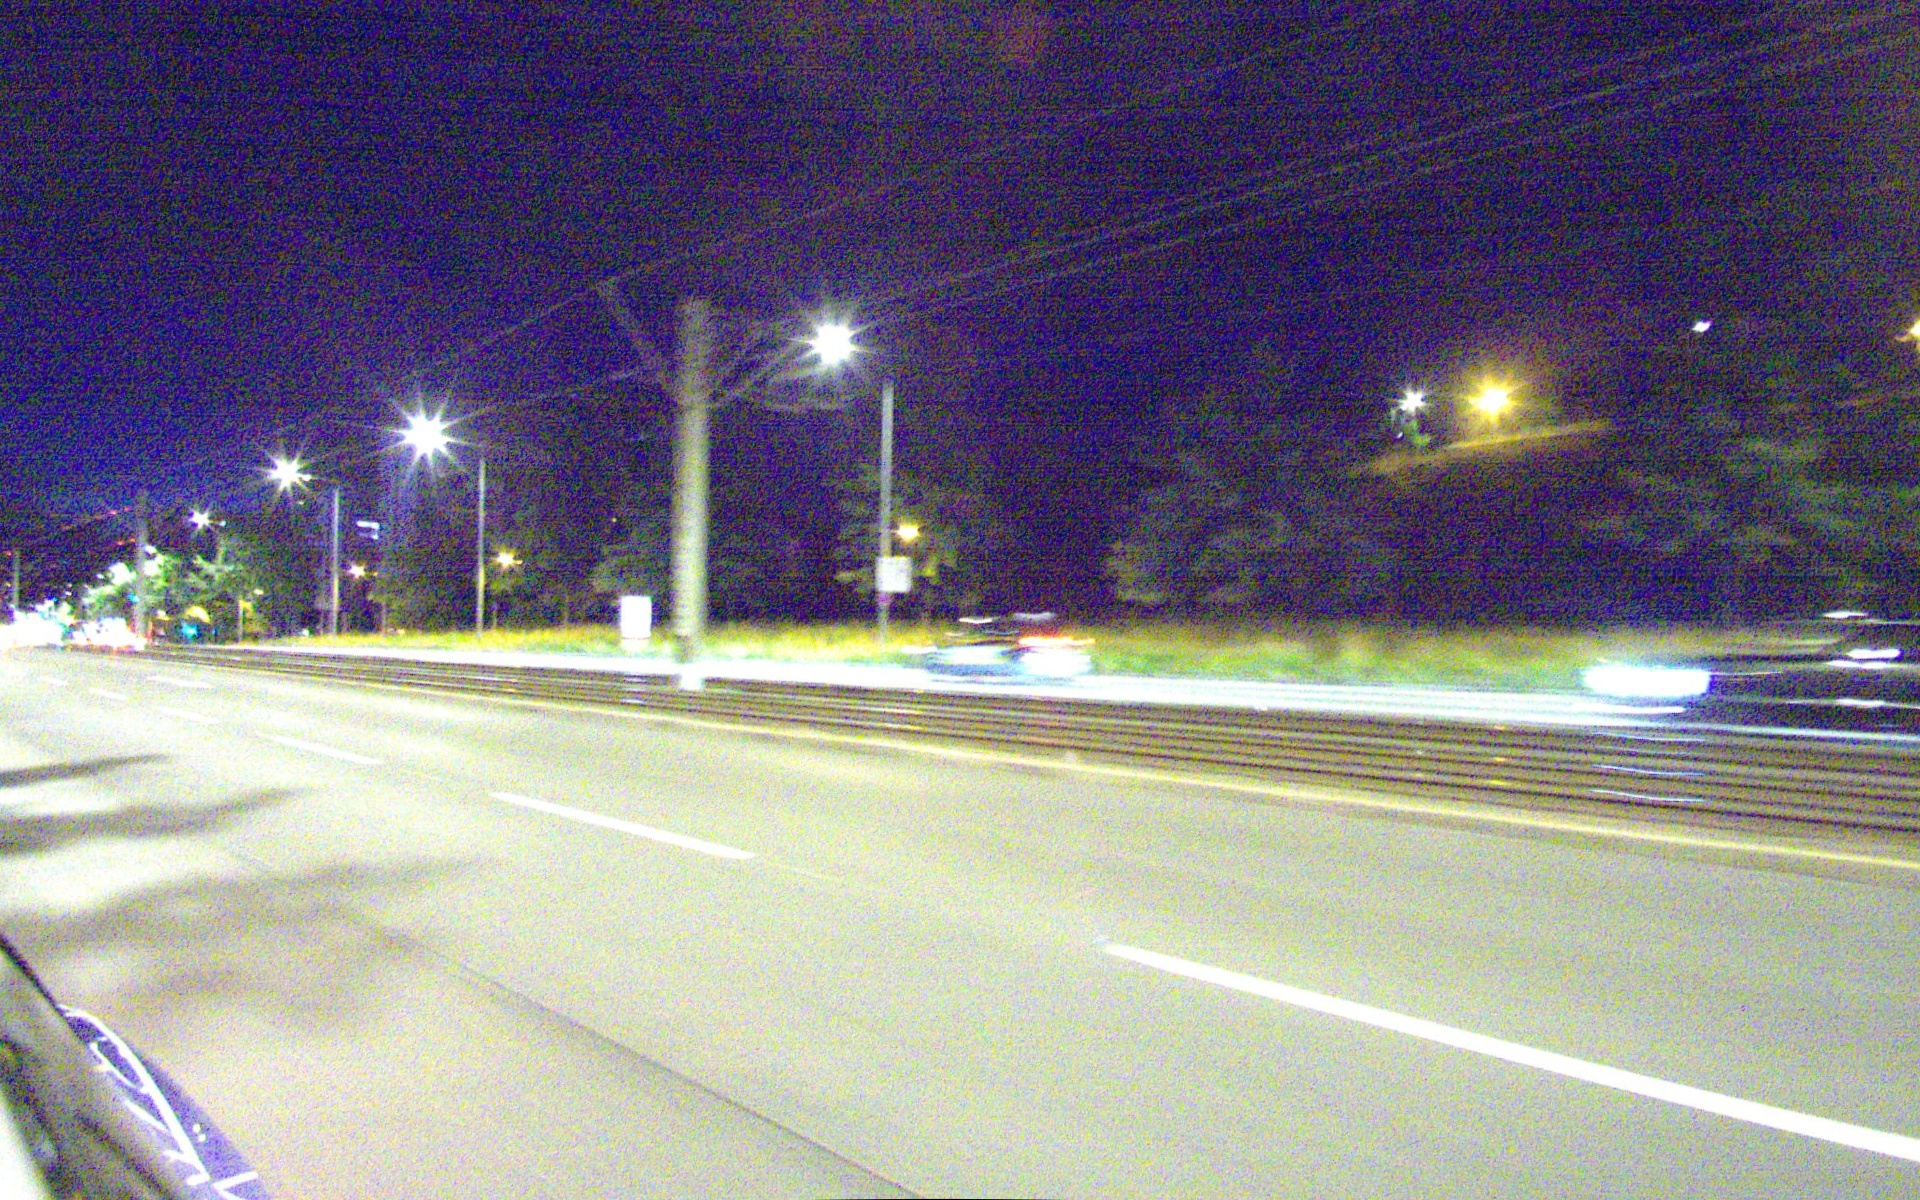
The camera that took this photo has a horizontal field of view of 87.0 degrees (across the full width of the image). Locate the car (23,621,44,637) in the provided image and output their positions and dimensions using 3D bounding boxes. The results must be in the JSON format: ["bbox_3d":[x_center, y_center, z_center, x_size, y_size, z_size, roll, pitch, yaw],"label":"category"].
[{"bbox_3d":[-115.588,3.618,126.186,1.769,1.921,4.002,-1,0,-45],"label":"car"}]

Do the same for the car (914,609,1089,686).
[{"bbox_3d":[0.919,1.055,23.999,3.960,1.637,1.707,0,0,41],"label":"car"}]

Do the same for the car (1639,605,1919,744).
[{"bbox_3d":[10.620,0.820,12.069,4.079,1.510,1.787,0,-1,38],"label":"car"}]

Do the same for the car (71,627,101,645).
[{"bbox_3d":[-91.516,3.795,105.942,3.997,1.751,1.772,0,0,40],"label":"car"}]

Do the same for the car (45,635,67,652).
[{"bbox_3d":[-107.850,5.187,120.722,1.769,1.803,4.002,-1,1,-45],"label":"car"}]

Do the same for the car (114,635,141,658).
[{"bbox_3d":[-84.543,4.692,102.703,2.030,2.029,4.006,-1,0,-41],"label":"car"}]
